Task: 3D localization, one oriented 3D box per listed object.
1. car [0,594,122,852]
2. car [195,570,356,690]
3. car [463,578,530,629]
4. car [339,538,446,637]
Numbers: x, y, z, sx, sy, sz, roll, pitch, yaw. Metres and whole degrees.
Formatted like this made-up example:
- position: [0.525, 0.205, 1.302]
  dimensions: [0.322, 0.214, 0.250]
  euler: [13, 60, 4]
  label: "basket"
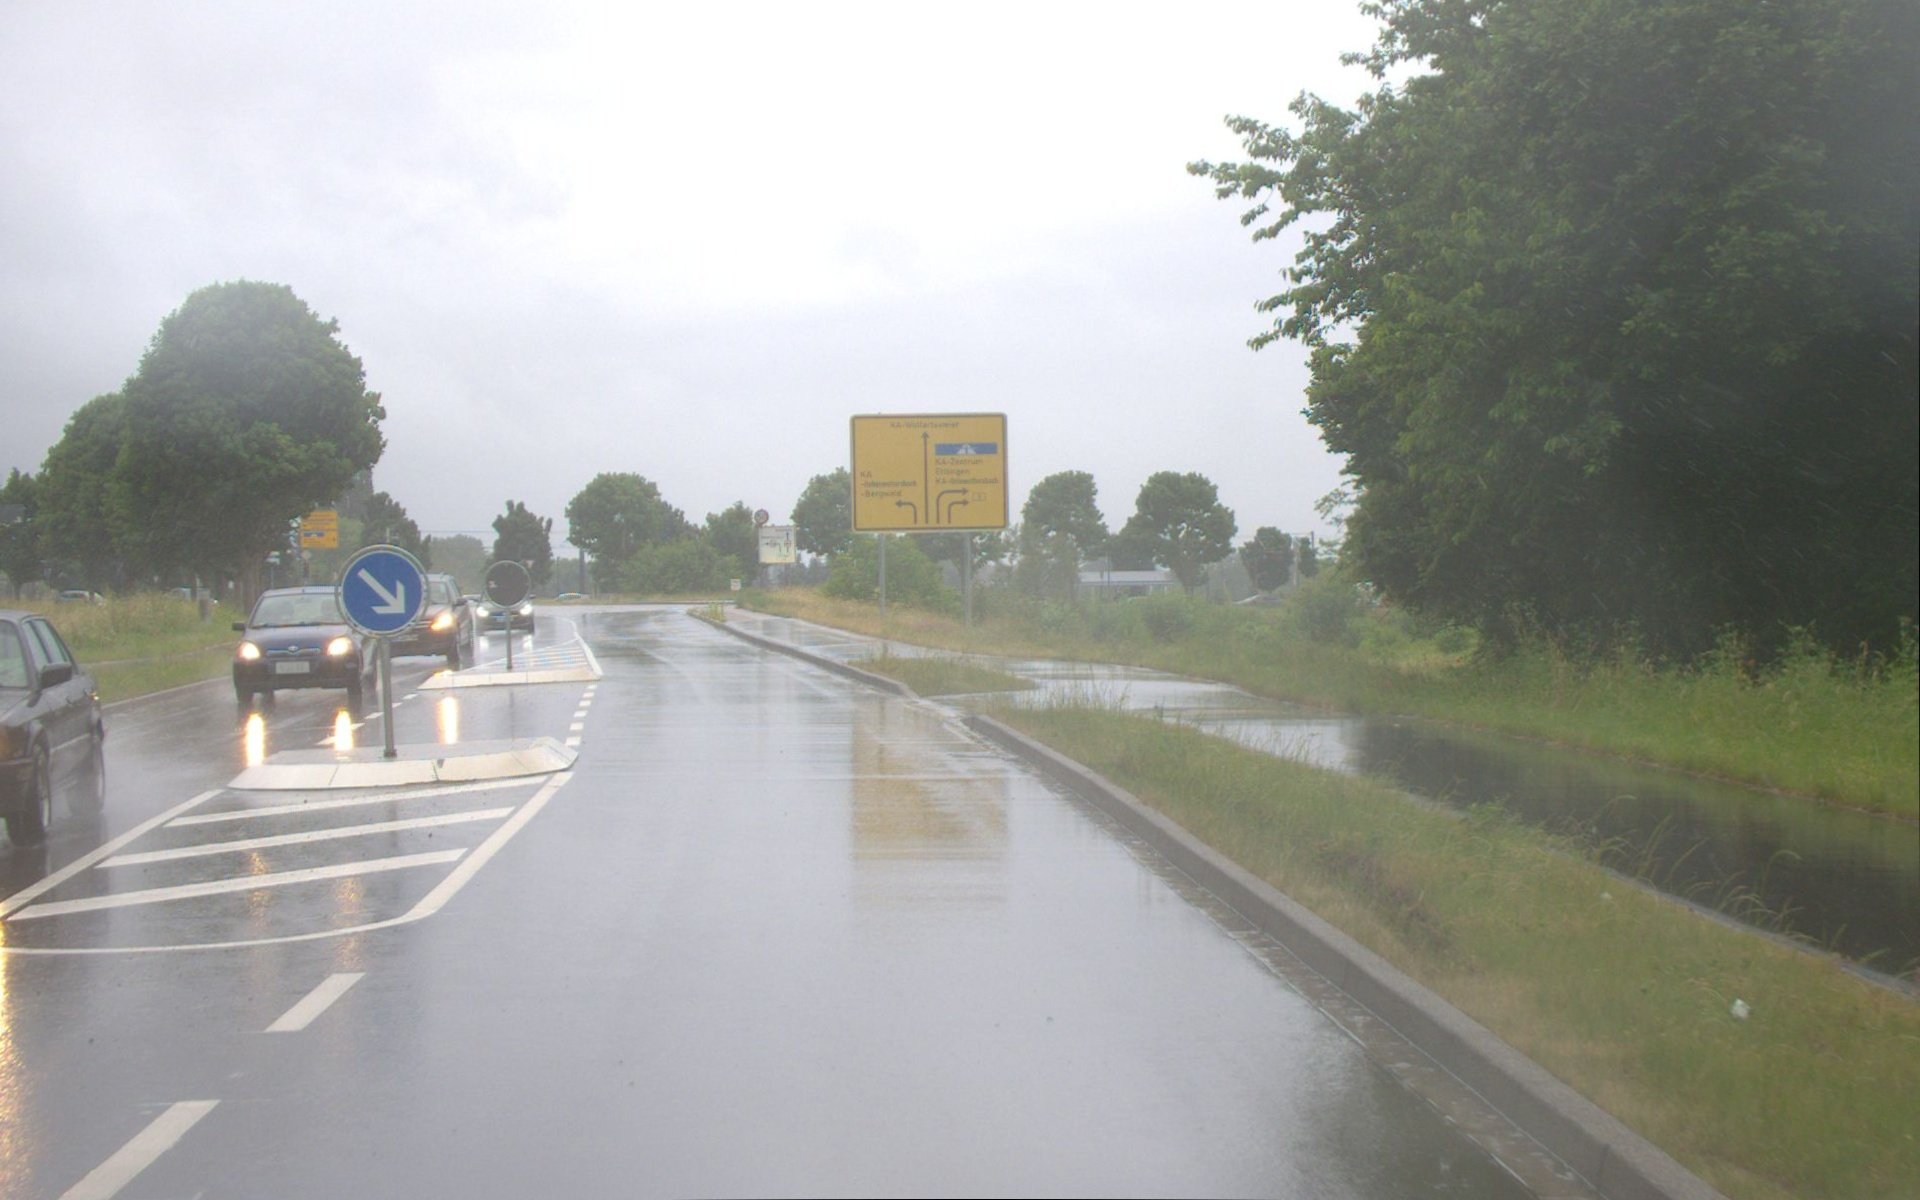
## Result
- position: [-6.285, 0.721, 21.076]
  dimensions: [1.682, 1.378, 4.226]
  euler: [-3, 1, -7]
  label: "car"
- position: [-9.152, 0.373, 46.191]
  dimensions: [1.741, 1.440, 3.683]
  euler: [-3, 1, -6]
  label: "car"
- position: [-13.718, 0.088, 101.895]
  dimensions: [1.696, 1.397, 3.768]
  euler: [-3, 1, -5]
  label: "car"
- position: [-10.570, -0.258, 64.267]
  dimensions: [1.741, 1.712, 4.268]
  euler: [-3, 1, -7]
  label: "car"
